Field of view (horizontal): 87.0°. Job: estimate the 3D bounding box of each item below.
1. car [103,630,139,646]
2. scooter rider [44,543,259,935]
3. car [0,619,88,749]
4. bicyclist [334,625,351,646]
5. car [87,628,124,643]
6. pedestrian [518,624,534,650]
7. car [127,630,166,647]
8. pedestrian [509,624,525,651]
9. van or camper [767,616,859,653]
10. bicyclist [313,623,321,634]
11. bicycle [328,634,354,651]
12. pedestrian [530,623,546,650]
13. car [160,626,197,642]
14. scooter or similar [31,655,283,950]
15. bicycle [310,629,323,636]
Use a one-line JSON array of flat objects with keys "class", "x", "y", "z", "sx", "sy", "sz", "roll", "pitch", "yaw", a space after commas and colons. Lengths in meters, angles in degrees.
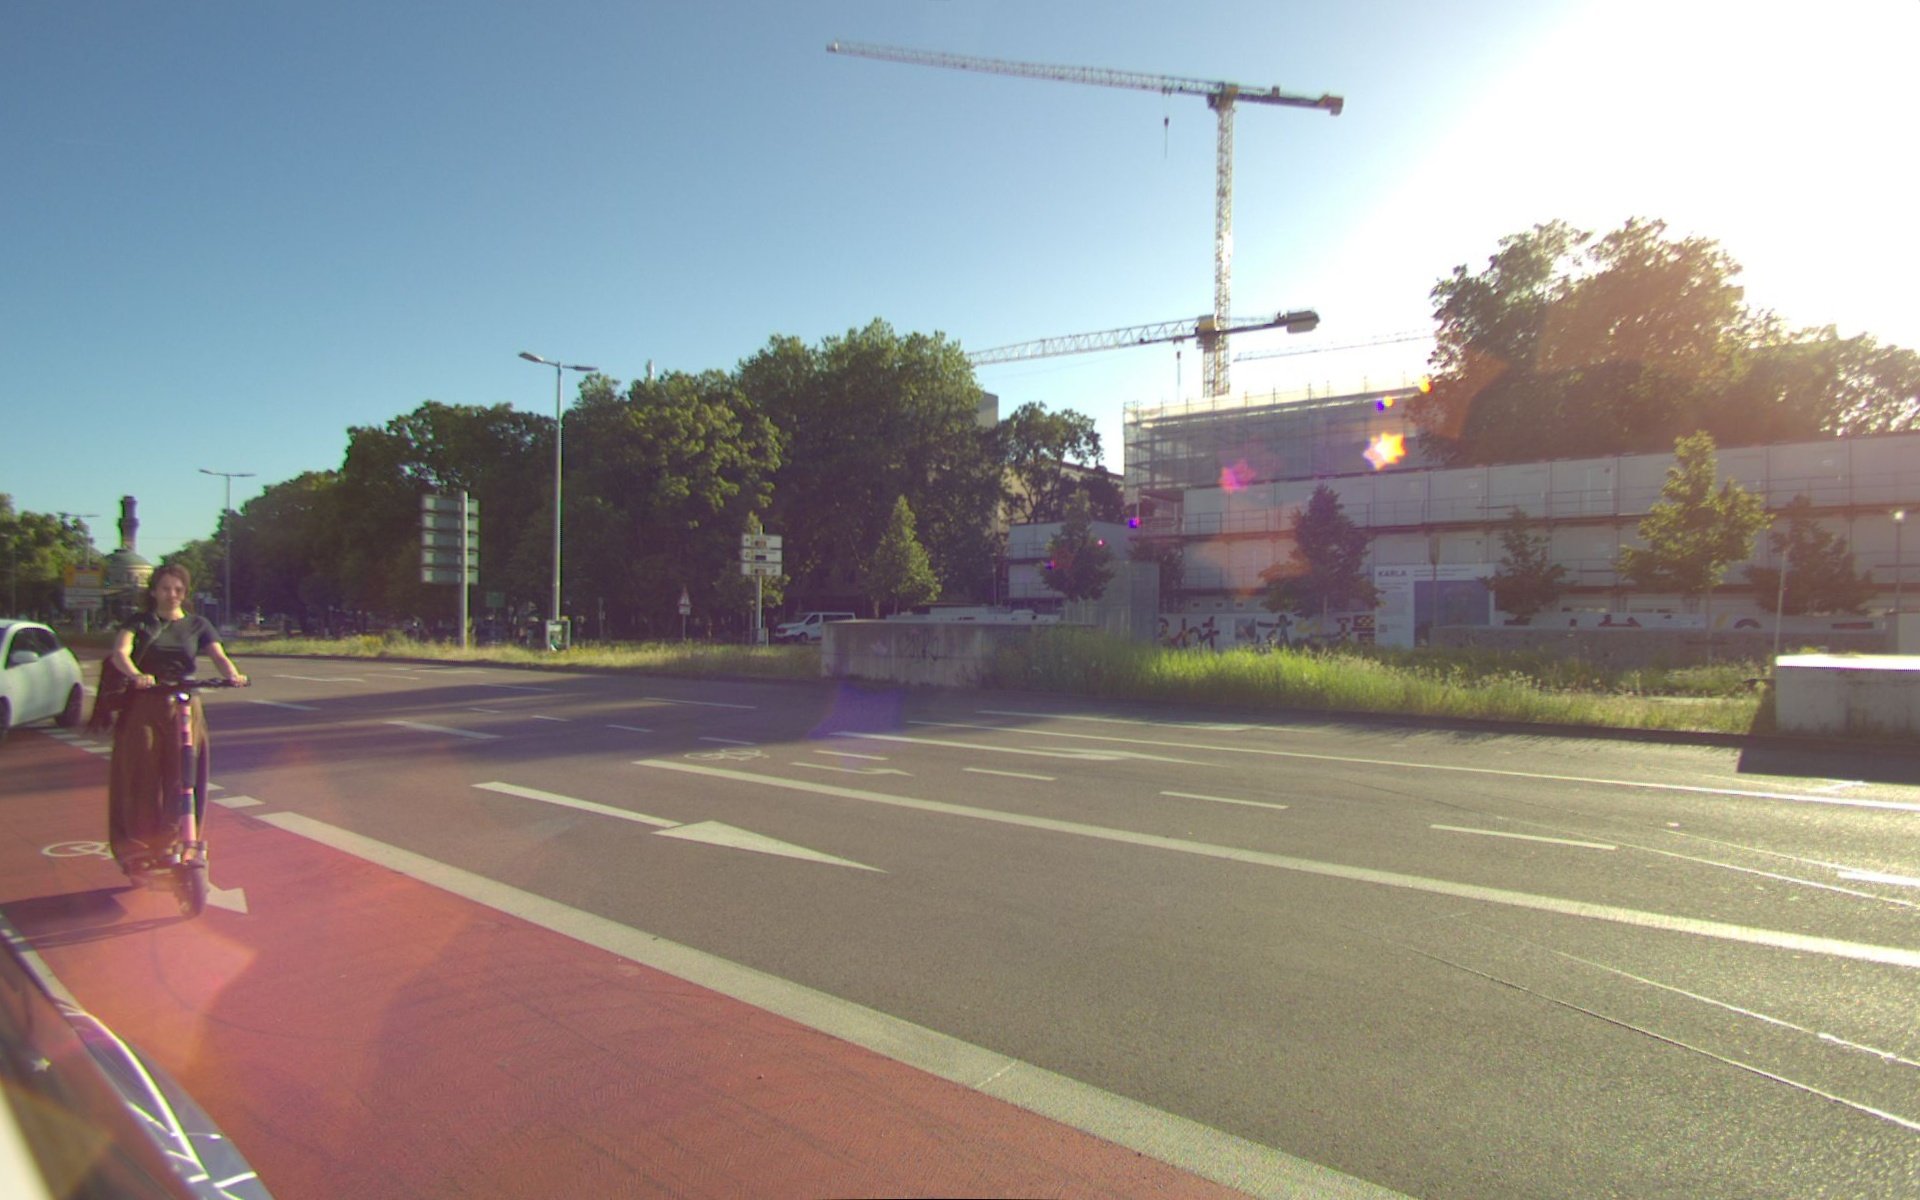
[{"class": "car", "x": -74.769, "y": 3.358, "z": 90.155, "sx": 3.998, "sy": 1.409, "sz": 1.848, "roll": -1, "pitch": -2, "yaw": 41}, {"class": "scooter rider", "x": -4.131, "y": 0.643, "z": 5.175, "sx": 0.811, "sy": 1.788, "sz": 0.721, "roll": -1, "pitch": -1, "yaw": 41}, {"class": "car", "x": -12.181, "y": 0.986, "z": 12.189, "sx": 1.651, "sy": 1.460, "sz": 3.901, "roll": -1, "pitch": 0, "yaw": -27}, {"class": "bicyclist", "x": -39.789, "y": 2.279, "z": 65.168, "sx": 0.884, "sy": 1.292, "sz": 0.631, "roll": -1, "pitch": -2, "yaw": 36}, {"class": "car", "x": -79.300, "y": 3.267, "z": 93.901, "sx": 3.995, "sy": 1.409, "sz": 1.849, "roll": -1, "pitch": -2, "yaw": 39}, {"class": "pedestrian", "x": -28.431, "y": 2.415, "z": 66.307, "sx": 0.762, "sy": 1.738, "sz": 0.656, "roll": -1, "pitch": -2, "yaw": 41}, {"class": "car", "x": -69.748, "y": 3.294, "z": 86.778, "sx": 3.996, "sy": 1.409, "sz": 1.849, "roll": -1, "pitch": -2, "yaw": 40}, {"class": "pedestrian", "x": -28.665, "y": 2.419, "z": 65.531, "sx": 0.762, "sy": 1.738, "sz": 0.698, "roll": -1, "pitch": -2, "yaw": 41}, {"class": "van or camper", "x": -8.941, "y": 2.047, "z": 61.944, "sx": 1.948, "sy": 2.029, "sz": 5.576, "roll": -1, "pitch": 0, "yaw": 42}, {"class": "bicyclist", "x": -75.378, "y": 3.340, "z": 118.604, "sx": 0.601, "sy": 1.291, "sz": 0.716, "roll": 0, "pitch": -1, "yaw": -9}, {"class": "bicycle", "x": -39.943, "y": 2.743, "z": 65.254, "sx": 2.239, "sy": 1.030, "sz": 0.631, "roll": -1, "pitch": -2, "yaw": 36}, {"class": "pedestrian", "x": -27.887, "y": 2.408, "z": 66.856, "sx": 0.762, "sy": 1.738, "sz": 0.698, "roll": -1, "pitch": -2, "yaw": 41}, {"class": "car", "x": -75.765, "y": 3.326, "z": 98.114, "sx": 3.995, "sy": 1.519, "sz": 1.974, "roll": -1, "pitch": -2, "yaw": 39}, {"class": "scooter or similar", "x": -4.143, "y": 0.915, "z": 5.180, "sx": 1.664, "sy": 1.211, "sz": 0.721, "roll": -1, "pitch": -1, "yaw": 41}, {"class": "bicycle", "x": -75.381, "y": 3.818, "z": 118.592, "sx": 0.601, "sy": 0.849, "sz": 1.749, "roll": 0, "pitch": -1, "yaw": -10}]
